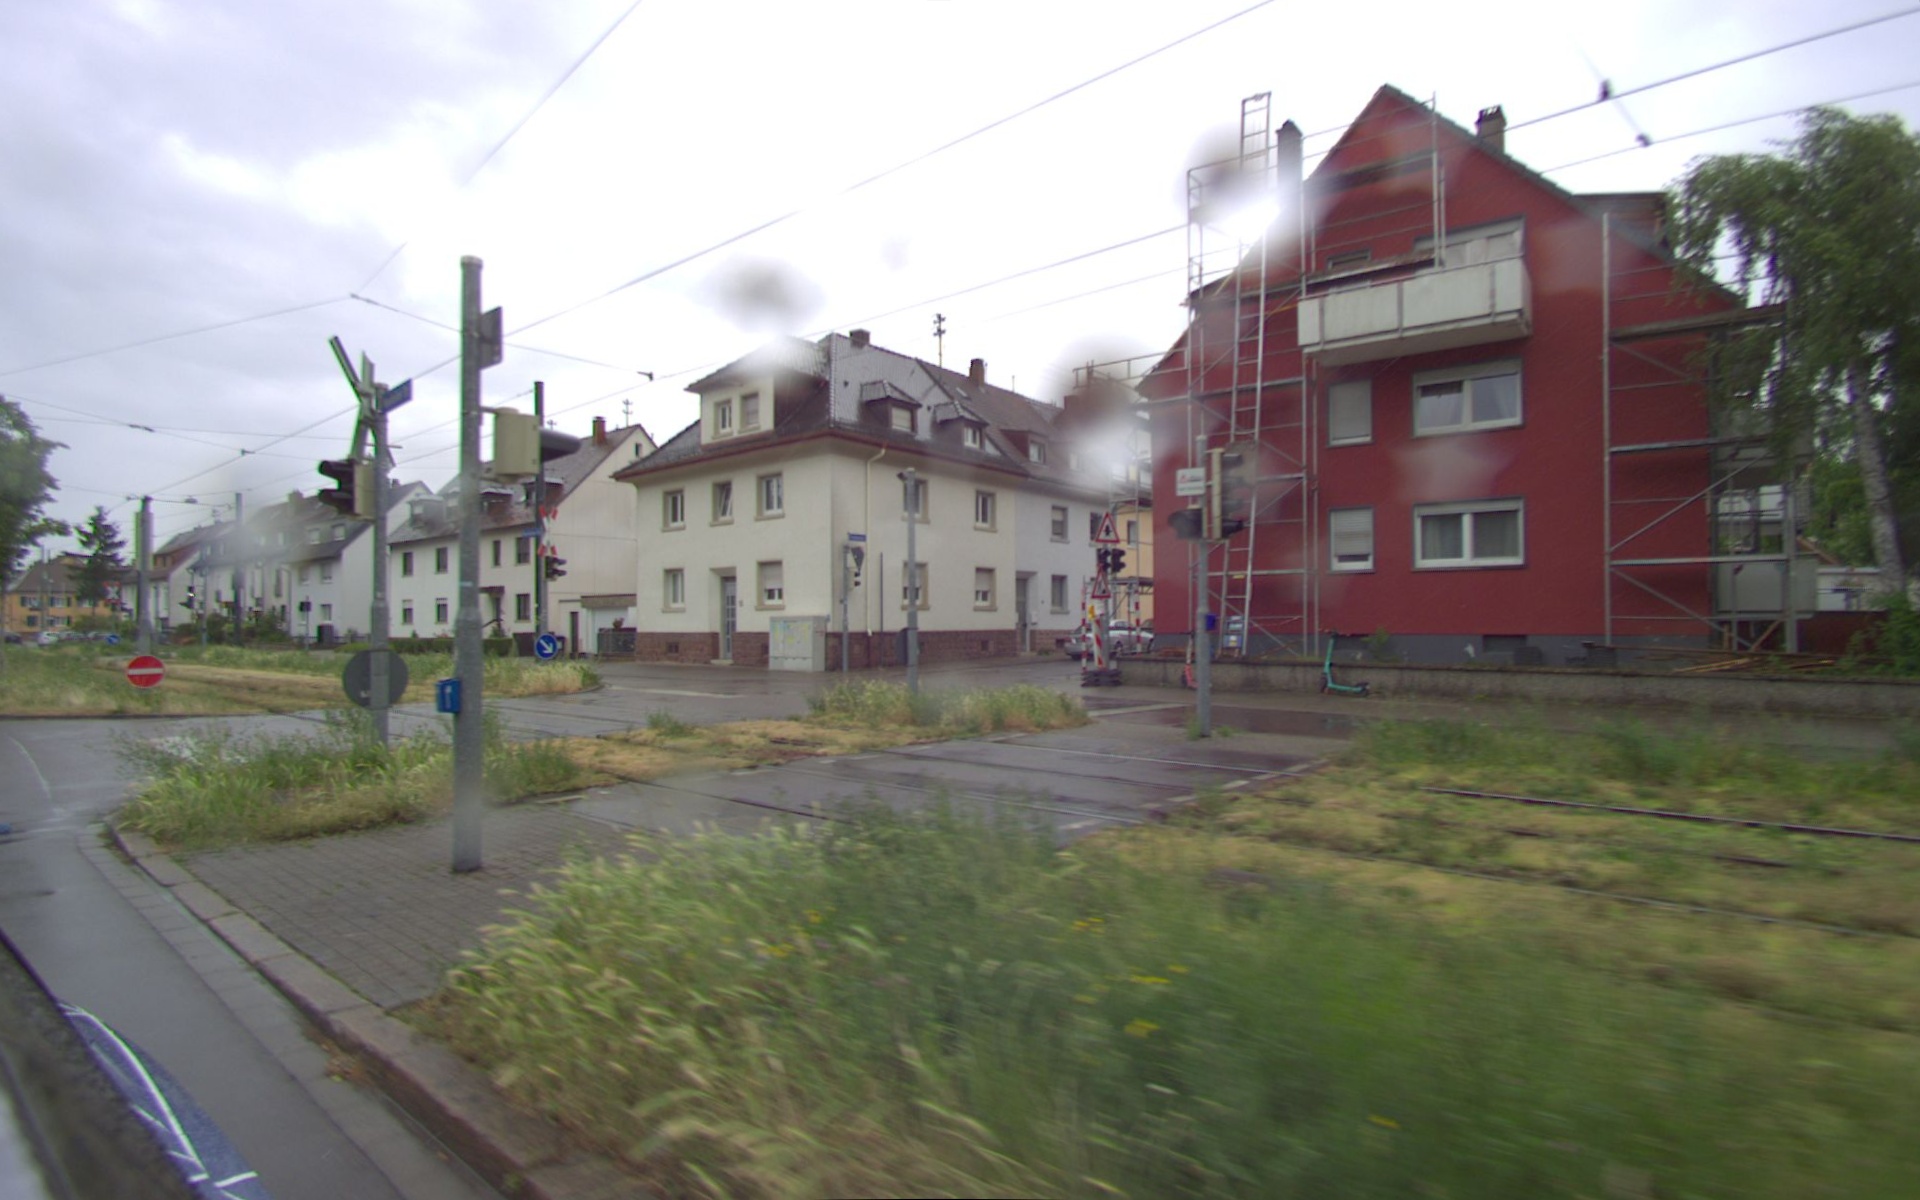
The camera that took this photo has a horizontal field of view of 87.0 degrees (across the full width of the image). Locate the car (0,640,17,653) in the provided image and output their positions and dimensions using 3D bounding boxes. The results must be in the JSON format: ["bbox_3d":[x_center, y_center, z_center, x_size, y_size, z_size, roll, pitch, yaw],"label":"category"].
[{"bbox_3d":[-113.141,5.499,119.739,3.997,1.541,1.857,-2,-3,41],"label":"car"}]

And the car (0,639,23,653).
[{"bbox_3d":[-109.628,5.337,116.651,3.997,1.602,1.887,-2,-3,41],"label":"car"}]

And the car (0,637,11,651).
[{"bbox_3d":[-119.605,5.477,125.883,4.000,1.670,1.972,-2,-1,43],"label":"car"}]

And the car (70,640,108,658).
[{"bbox_3d":[-70.932,3.975,82.413,3.935,1.437,1.754,-2,-3,41],"label":"car"}]

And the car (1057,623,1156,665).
[{"bbox_3d":[5.430,1.571,37.012,1.838,1.412,4.313,-2,-2,35],"label":"car"}]

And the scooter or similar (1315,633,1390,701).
[{"bbox_3d":[7.187,1.204,18.560,0.388,1.189,1.286,1,-2,-32],"label":"scooter or similar"}]

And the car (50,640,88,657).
[{"bbox_3d":[-80.284,4.377,91.174,4.752,1.543,1.868,-2,-3,40],"label":"car"}]

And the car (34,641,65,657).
[{"bbox_3d":[-88.681,4.761,98.540,3.996,1.451,1.693,-2,-3,40],"label":"car"}]

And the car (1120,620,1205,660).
[{"bbox_3d":[8.305,1.594,41.295,1.838,1.532,4.313,-2,-2,35],"label":"car"}]

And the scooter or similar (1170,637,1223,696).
[{"bbox_3d":[4.775,1.332,20.514,0.434,1.138,1.286,0,-2,-17],"label":"scooter or similar"}]
